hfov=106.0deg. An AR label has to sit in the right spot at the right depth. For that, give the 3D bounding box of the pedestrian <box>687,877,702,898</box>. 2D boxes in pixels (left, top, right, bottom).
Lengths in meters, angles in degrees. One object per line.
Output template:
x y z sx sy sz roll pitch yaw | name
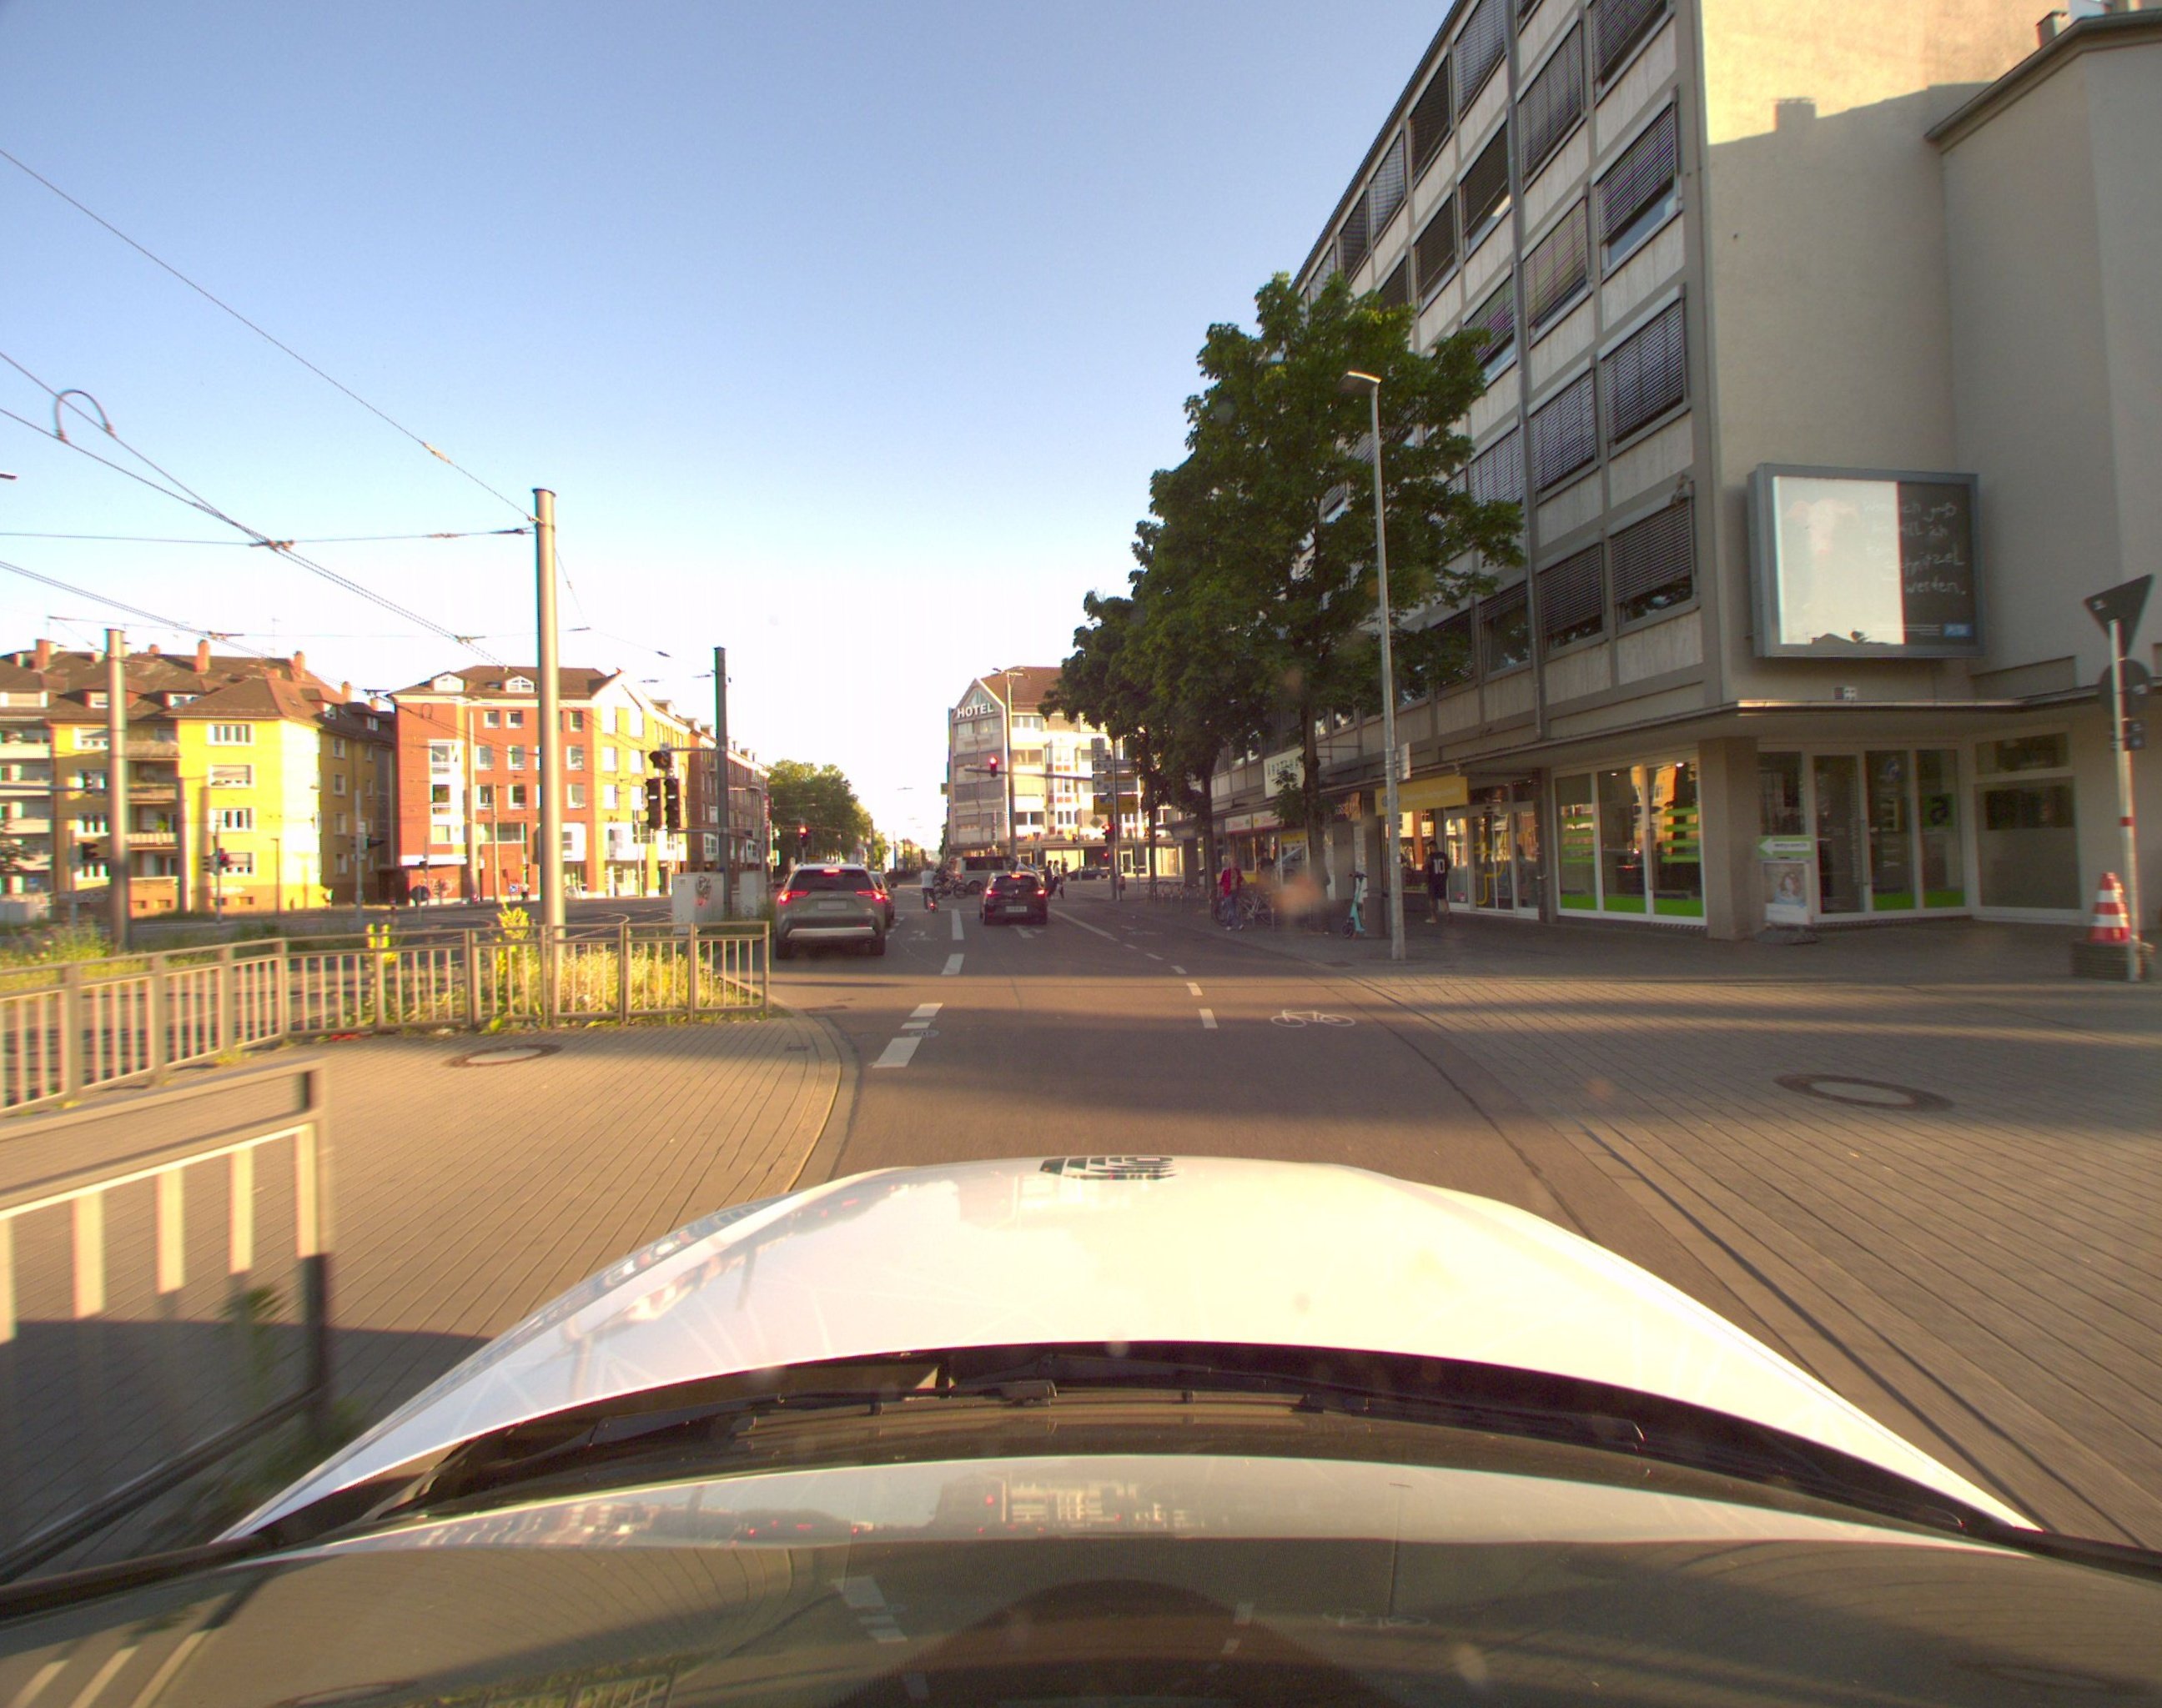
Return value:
-38.044 3.291 80.158 1.094 2.014 0.905 0 -2 -12 | pedestrian

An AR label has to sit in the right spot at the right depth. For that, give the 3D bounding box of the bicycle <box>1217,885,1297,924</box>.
4.156 1.178 19.257 1.814 0.891 0.414 0 -2 -3 | bicycle

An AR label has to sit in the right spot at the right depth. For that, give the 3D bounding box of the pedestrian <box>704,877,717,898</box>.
-36.674 3.298 80.623 0.977 2.014 0.905 0 -2 -12 | pedestrian

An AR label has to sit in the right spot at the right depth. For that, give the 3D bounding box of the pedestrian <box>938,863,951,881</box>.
-13.149 1.739 78.604 0.841 1.726 0.940 -2 -2 39 | pedestrian

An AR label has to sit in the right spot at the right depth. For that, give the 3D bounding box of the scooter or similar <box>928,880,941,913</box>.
-4.971 1.421 27.742 0.279 1.091 1.255 0 -2 -3 | scooter or similar

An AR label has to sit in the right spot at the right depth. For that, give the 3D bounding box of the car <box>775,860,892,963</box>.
-4.728 0.956 15.384 1.841 1.636 4.064 -1 -1 -19 | car

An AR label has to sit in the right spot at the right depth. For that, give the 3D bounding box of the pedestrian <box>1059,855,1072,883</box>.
-1.011 0.935 52.174 0.746 1.779 0.798 0 -2 -8 | pedestrian

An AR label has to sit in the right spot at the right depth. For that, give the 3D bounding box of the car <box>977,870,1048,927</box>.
-2.044 1.192 23.304 1.763 1.440 3.988 -1 -1 -9 | car

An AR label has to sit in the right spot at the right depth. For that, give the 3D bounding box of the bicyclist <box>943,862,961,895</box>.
-6.278 1.184 39.644 0.705 1.511 0.547 -4 0 -15 | bicyclist

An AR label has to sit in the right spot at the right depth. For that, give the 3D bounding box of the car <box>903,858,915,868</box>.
-35.048 1.854 165.959 1.993 1.901 3.987 0 -1 -9 | car

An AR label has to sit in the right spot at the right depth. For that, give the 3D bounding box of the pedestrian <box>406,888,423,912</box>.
-49.136 3.364 60.081 0.683 1.743 0.670 -2 -2 13 | pedestrian

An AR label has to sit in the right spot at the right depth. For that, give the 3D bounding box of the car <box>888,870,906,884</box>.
-22.769 2.822 100.815 1.810 1.747 3.703 0 -1 -8 | car

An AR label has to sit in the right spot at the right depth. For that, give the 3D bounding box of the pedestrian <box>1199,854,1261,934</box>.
3.262 0.851 17.821 0.830 1.685 1.037 1 -2 -36 | pedestrian

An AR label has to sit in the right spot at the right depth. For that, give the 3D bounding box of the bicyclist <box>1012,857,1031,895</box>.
-2.979 1.113 40.834 0.862 1.878 0.643 0 -2 -17 | bicyclist

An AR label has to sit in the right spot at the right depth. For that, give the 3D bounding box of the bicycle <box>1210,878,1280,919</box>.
4.058 1.099 20.226 1.654 0.974 0.386 0 -2 -3 | bicycle

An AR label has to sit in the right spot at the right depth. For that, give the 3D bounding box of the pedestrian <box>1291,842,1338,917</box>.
5.690 0.627 19.905 0.746 1.779 0.970 0 -2 -9 | pedestrian

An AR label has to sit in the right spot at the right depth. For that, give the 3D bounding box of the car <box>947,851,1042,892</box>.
-4.695 0.940 44.152 4.706 2.014 1.983 -2 -1 -25 | car

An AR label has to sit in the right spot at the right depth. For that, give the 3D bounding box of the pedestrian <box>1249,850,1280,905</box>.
5.997 0.764 26.661 0.746 1.779 0.797 0 -2 -10 | pedestrian

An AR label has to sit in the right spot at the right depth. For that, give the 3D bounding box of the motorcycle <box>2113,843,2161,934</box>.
15.061 0.412 10.418 2.272 1.168 0.813 -2 -1 12 | motorcycle

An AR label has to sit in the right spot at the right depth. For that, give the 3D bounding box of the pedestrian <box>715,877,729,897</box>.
-37.558 3.429 85.177 1.094 2.014 1.158 0 -2 -12 | pedestrian

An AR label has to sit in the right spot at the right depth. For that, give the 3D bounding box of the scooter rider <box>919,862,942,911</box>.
-5.107 1.107 27.673 0.660 1.647 0.660 0 -2 -2 | scooter rider

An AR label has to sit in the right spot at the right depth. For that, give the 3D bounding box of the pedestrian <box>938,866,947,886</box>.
-15.903 2.523 93.629 0.933 2.197 0.848 0 -2 -13 | pedestrian

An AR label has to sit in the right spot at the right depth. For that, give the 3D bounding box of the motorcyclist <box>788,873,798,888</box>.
-22.962 2.105 64.872 0.705 1.220 0.784 0 -2 -16 | motorcyclist

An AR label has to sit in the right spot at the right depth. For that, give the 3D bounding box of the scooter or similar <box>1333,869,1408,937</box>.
5.297 0.906 14.951 1.205 1.218 0.296 -4 -3 36 | scooter or similar

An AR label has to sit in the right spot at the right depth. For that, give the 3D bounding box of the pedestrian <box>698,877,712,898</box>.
-37.595 3.343 81.484 1.094 2.014 0.905 0 -2 -12 | pedestrian

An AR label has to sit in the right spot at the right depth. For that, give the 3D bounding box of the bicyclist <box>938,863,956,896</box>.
-6.360 1.191 38.746 0.705 1.511 0.547 -4 0 -16 | bicyclist

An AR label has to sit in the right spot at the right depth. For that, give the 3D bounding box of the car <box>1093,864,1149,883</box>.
3.531 1.723 72.137 4.557 1.620 1.989 -1 -1 -13 | car

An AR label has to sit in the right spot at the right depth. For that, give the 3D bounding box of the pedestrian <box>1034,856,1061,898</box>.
-1.492 1.024 36.165 1.001 1.830 0.721 1 -2 -31 | pedestrian

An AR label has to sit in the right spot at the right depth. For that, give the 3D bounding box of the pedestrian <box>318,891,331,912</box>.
-57.624 3.617 62.040 0.551 1.642 0.499 0 -2 -12 | pedestrian

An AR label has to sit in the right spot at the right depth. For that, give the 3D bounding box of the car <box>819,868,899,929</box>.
-5.960 1.136 22.282 1.745 1.460 4.393 0 -1 -11 | car

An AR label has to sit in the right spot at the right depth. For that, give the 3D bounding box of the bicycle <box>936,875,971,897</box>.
-6.214 1.562 39.651 1.615 1.028 0.351 -2 -1 -17 | bicycle

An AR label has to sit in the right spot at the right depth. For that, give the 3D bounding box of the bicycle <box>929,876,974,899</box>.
-6.160 1.596 38.758 2.040 1.028 0.415 -1 -1 -16 | bicycle

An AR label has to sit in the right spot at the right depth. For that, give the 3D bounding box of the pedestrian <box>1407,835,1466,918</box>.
7.441 0.473 17.087 0.746 1.684 0.891 0 -2 -9 | pedestrian

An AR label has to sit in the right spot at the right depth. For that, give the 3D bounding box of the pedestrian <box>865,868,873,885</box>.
-21.698 2.318 83.418 0.701 1.664 0.805 0 -2 -8 | pedestrian

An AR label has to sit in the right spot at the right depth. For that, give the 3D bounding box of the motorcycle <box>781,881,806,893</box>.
-22.922 2.625 64.899 1.836 0.908 0.430 0 -2 -15 | motorcycle

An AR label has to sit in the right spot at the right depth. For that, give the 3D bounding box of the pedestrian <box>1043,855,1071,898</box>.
-1.043 0.990 35.639 1.001 1.830 0.721 1 -2 -32 | pedestrian
